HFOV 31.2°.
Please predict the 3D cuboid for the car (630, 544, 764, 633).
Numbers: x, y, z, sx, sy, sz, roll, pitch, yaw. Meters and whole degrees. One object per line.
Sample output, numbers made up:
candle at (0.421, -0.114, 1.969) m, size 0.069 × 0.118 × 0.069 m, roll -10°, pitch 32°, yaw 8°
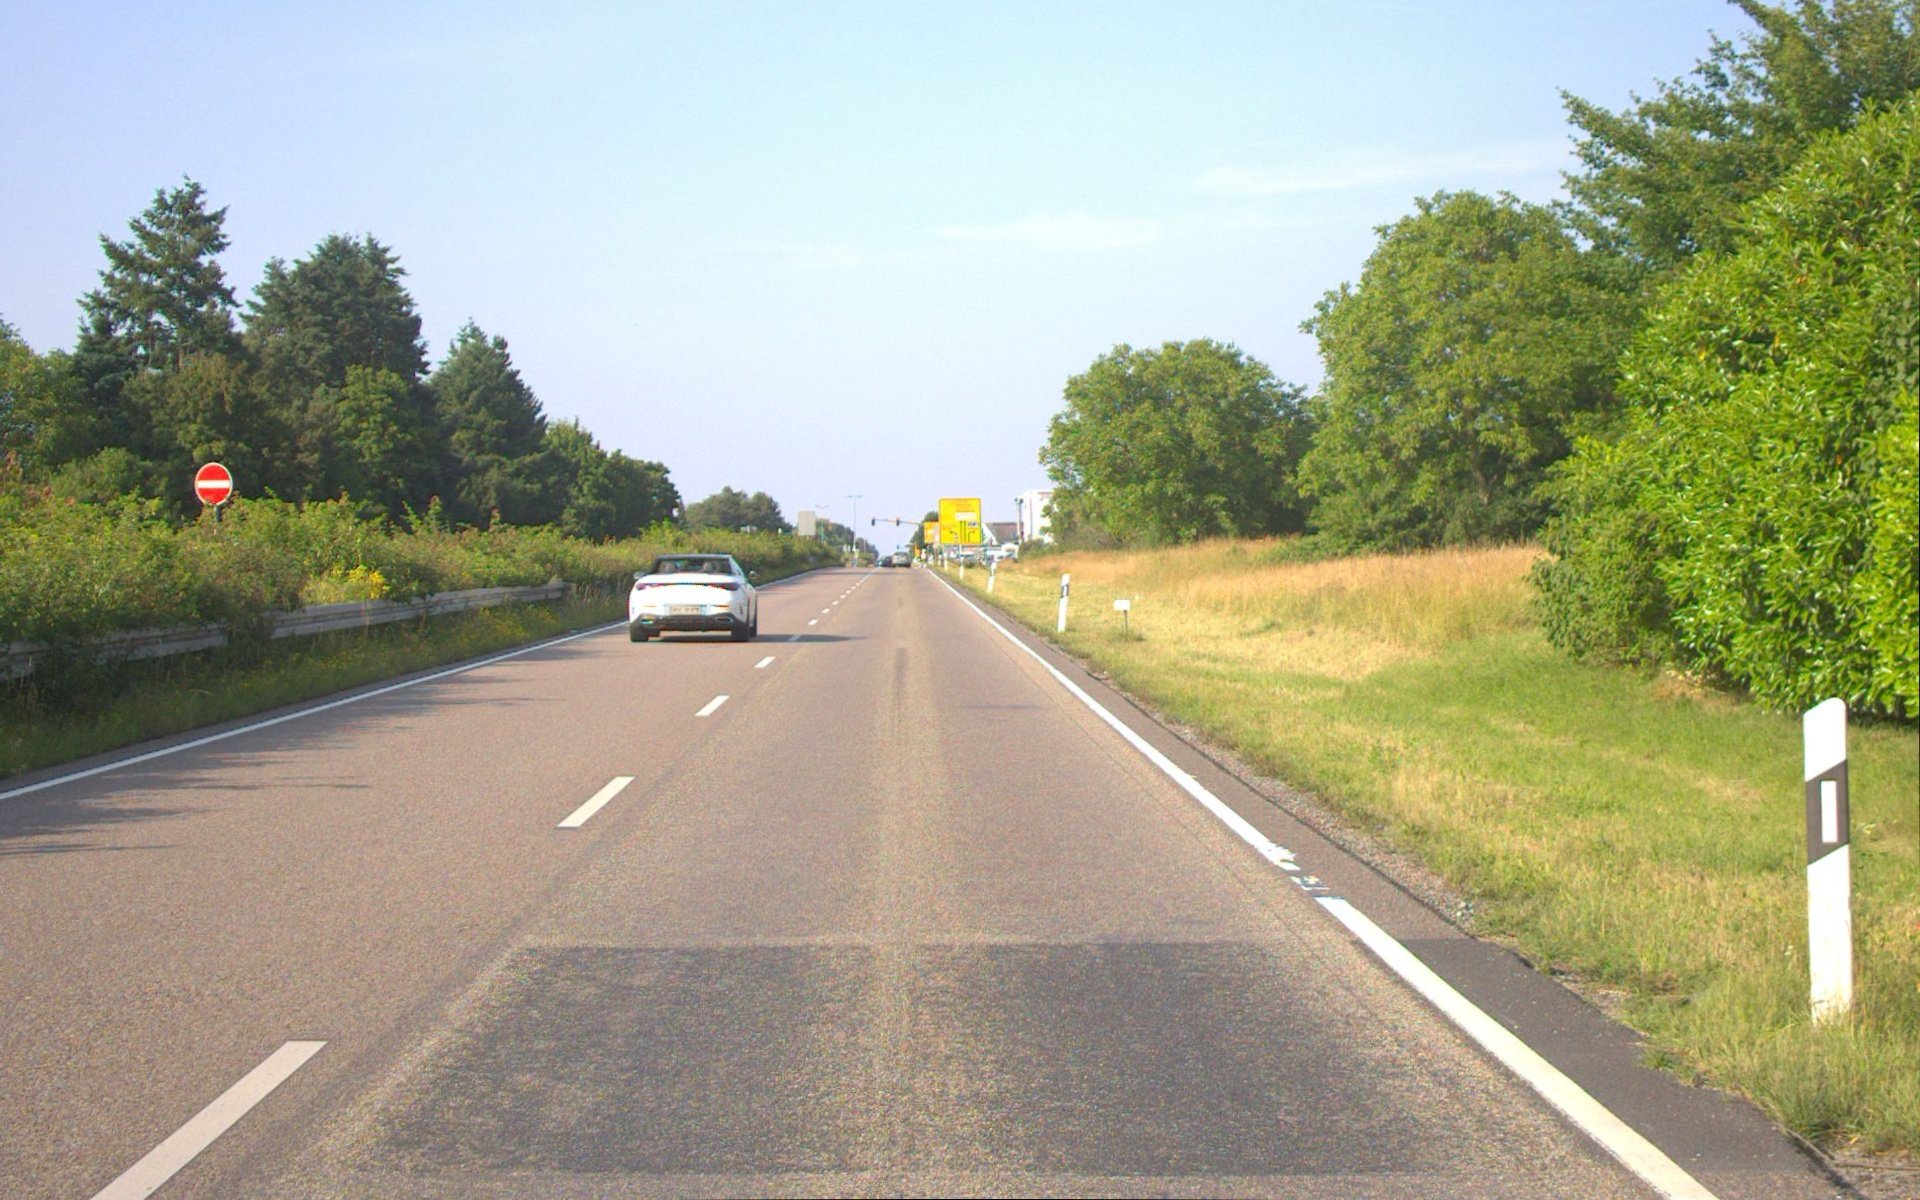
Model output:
car at (-4.158, -0.193, 54.959) m, size 1.771 × 1.333 × 4.950 m, roll 1°, pitch 1°, yaw 0°
